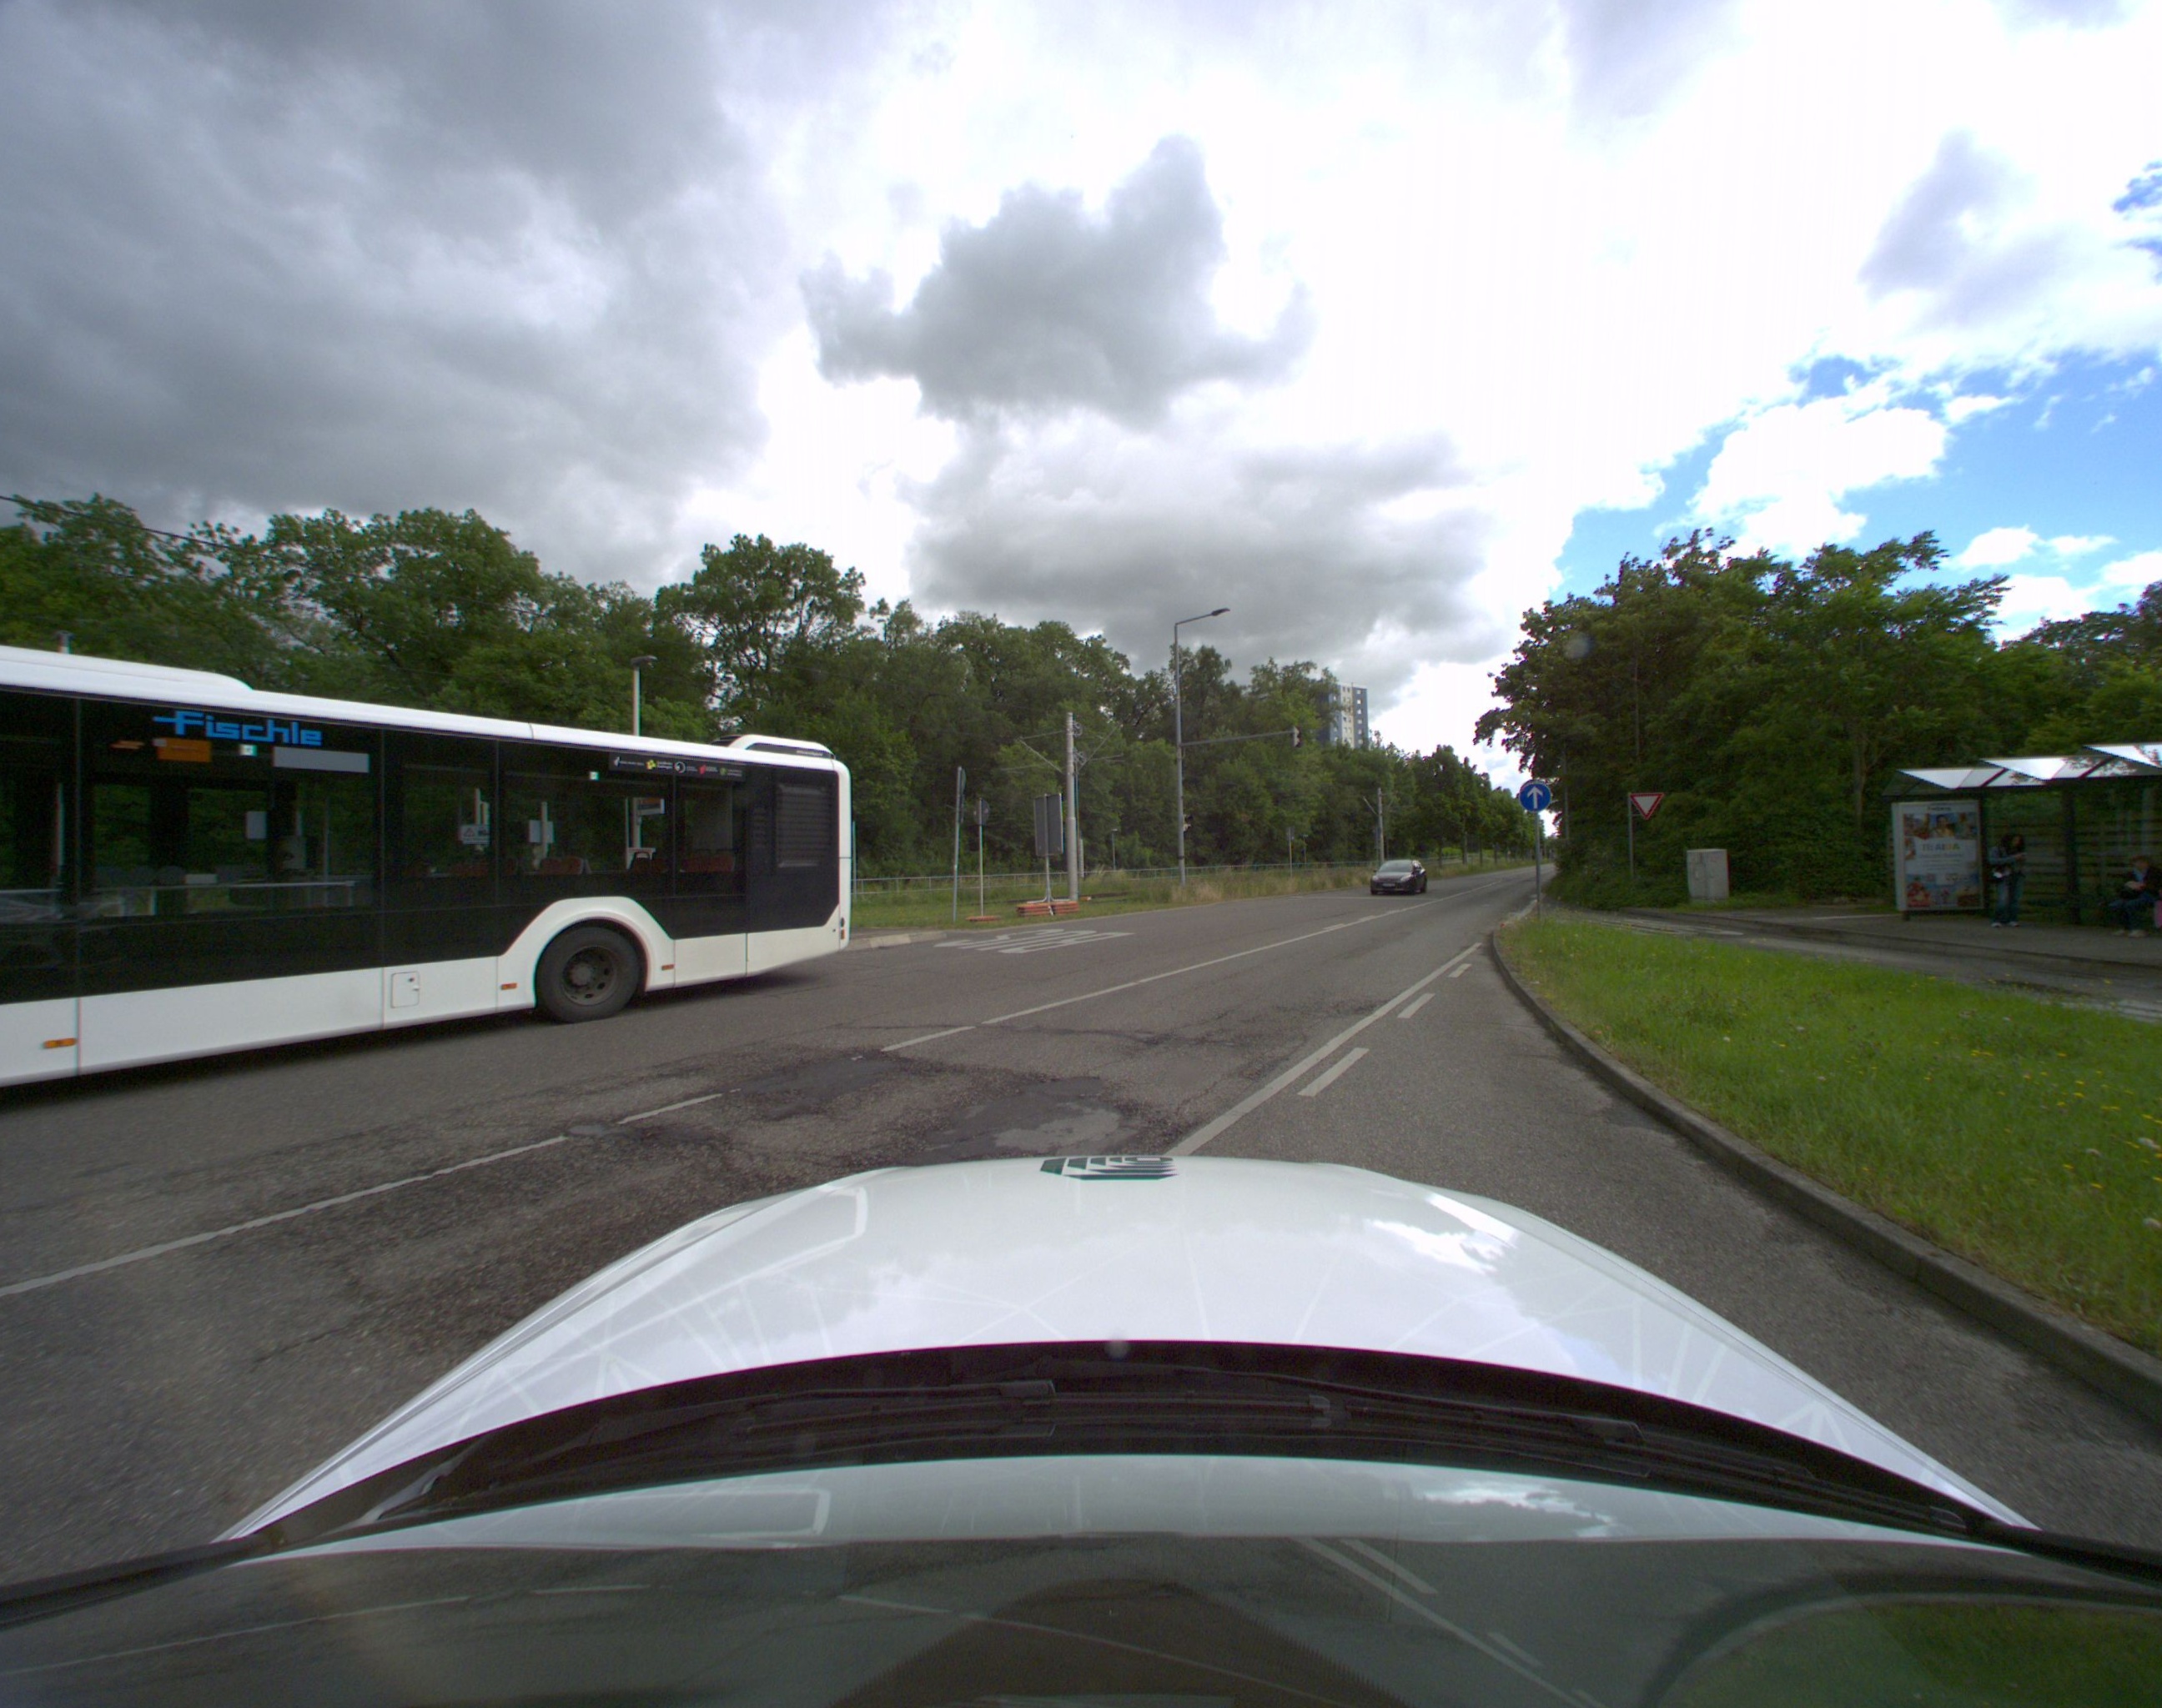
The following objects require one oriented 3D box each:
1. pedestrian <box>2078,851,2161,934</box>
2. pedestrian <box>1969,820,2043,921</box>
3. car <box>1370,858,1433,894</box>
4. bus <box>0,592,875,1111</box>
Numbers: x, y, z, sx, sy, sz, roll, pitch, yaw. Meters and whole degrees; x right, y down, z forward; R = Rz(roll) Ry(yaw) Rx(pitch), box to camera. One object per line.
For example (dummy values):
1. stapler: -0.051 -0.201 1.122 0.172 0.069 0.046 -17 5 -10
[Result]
1. pedestrian: 15.525 0.544 11.968 0.744 1.170 0.772 -2 -1 4
2. pedestrian: 15.572 0.272 13.708 0.774 1.650 0.679 -1 -1 -34
3. car: 13.967 0.917 35.394 1.738 1.434 4.456 -2 -1 32
4. bus: -7.263 0.014 6.526 2.640 3.203 12.277 -2 -1 33
